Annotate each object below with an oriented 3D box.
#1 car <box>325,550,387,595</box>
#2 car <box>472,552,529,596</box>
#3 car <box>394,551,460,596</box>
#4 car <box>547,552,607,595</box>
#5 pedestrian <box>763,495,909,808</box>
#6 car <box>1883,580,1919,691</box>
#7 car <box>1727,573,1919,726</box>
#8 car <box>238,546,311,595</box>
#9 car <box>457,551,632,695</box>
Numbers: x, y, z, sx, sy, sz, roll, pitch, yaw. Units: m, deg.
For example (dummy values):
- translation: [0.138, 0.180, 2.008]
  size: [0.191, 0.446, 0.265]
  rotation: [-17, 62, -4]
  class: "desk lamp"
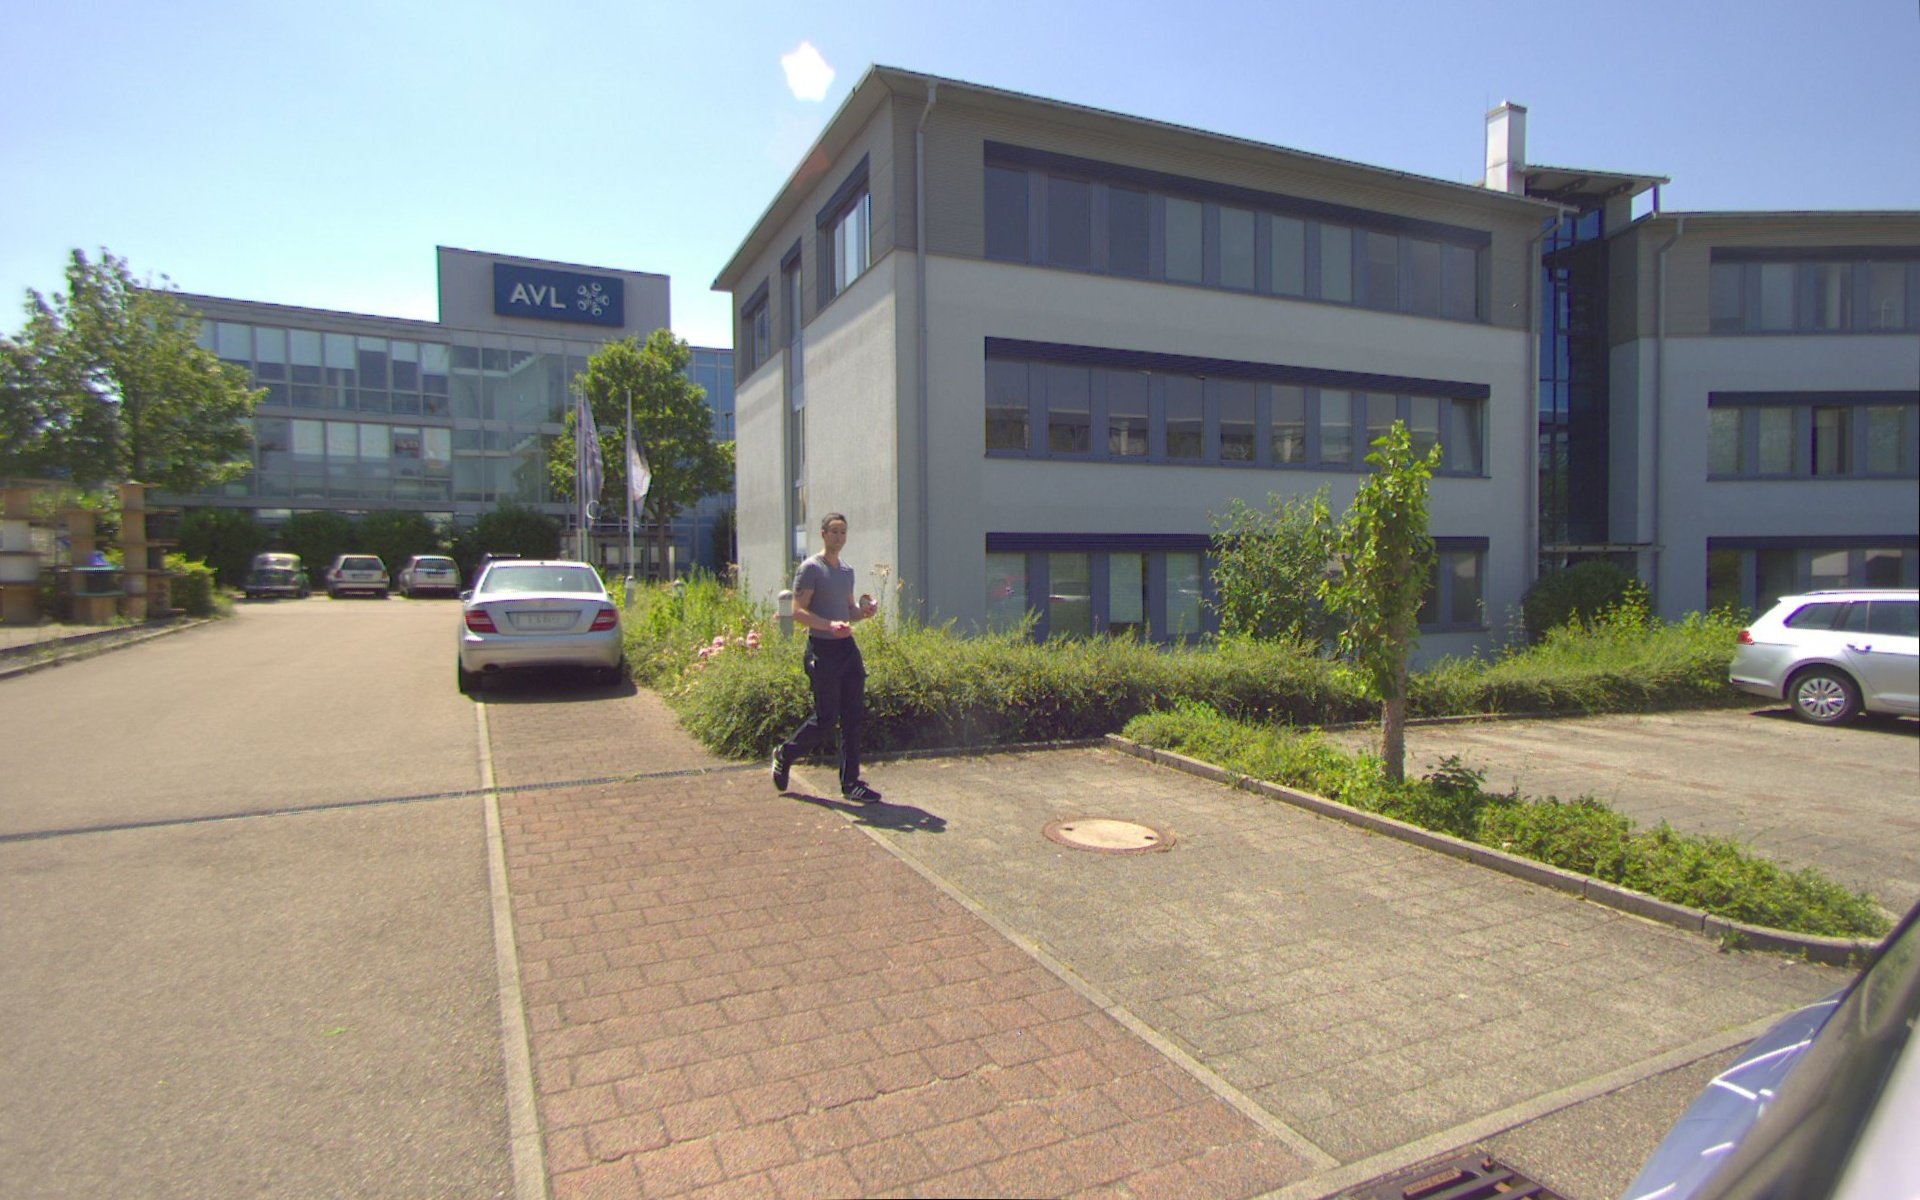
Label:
- translation: [-20.908, -0.956, 34.988]
  size: [1.642, 1.458, 4.001]
  rotation: [-1, 1, -34]
  class: "car"
- translation: [-16.944, -0.949, 37.242]
  size: [1.714, 1.538, 4.006]
  rotation: [0, 1, -27]
  class: "car"
- translation: [-19.272, -0.947, 36.507]
  size: [1.716, 1.538, 4.001]
  rotation: [-1, 1, -34]
  class: "car"
- translation: [-14.530, -0.983, 38.271]
  size: [1.714, 1.538, 4.006]
  rotation: [0, 1, -27]
  class: "car"
- translation: [-0.778, 0.284, 6.250]
  size: [0.607, 1.779, 0.788]
  rotation: [0, 1, -34]
  class: "pedestrian"
- translation: [13.688, 0.527, 11.908]
  size: [1.618, 1.408, 3.834]
  rotation: [0, 3, -28]
  class: "car"
- translation: [10.726, 0.531, 10.103]
  size: [1.792, 1.515, 4.528]
  rotation: [0, 2, -28]
  class: "car"
- translation: [-22.814, -0.972, 33.810]
  size: [1.714, 1.538, 4.005]
  rotation: [0, 1, -30]
  class: "car"
- translation: [-5.126, 0.190, 12.274]
  size: [1.694, 1.454, 3.723]
  rotation: [0, 1, -26]
  class: "car"
